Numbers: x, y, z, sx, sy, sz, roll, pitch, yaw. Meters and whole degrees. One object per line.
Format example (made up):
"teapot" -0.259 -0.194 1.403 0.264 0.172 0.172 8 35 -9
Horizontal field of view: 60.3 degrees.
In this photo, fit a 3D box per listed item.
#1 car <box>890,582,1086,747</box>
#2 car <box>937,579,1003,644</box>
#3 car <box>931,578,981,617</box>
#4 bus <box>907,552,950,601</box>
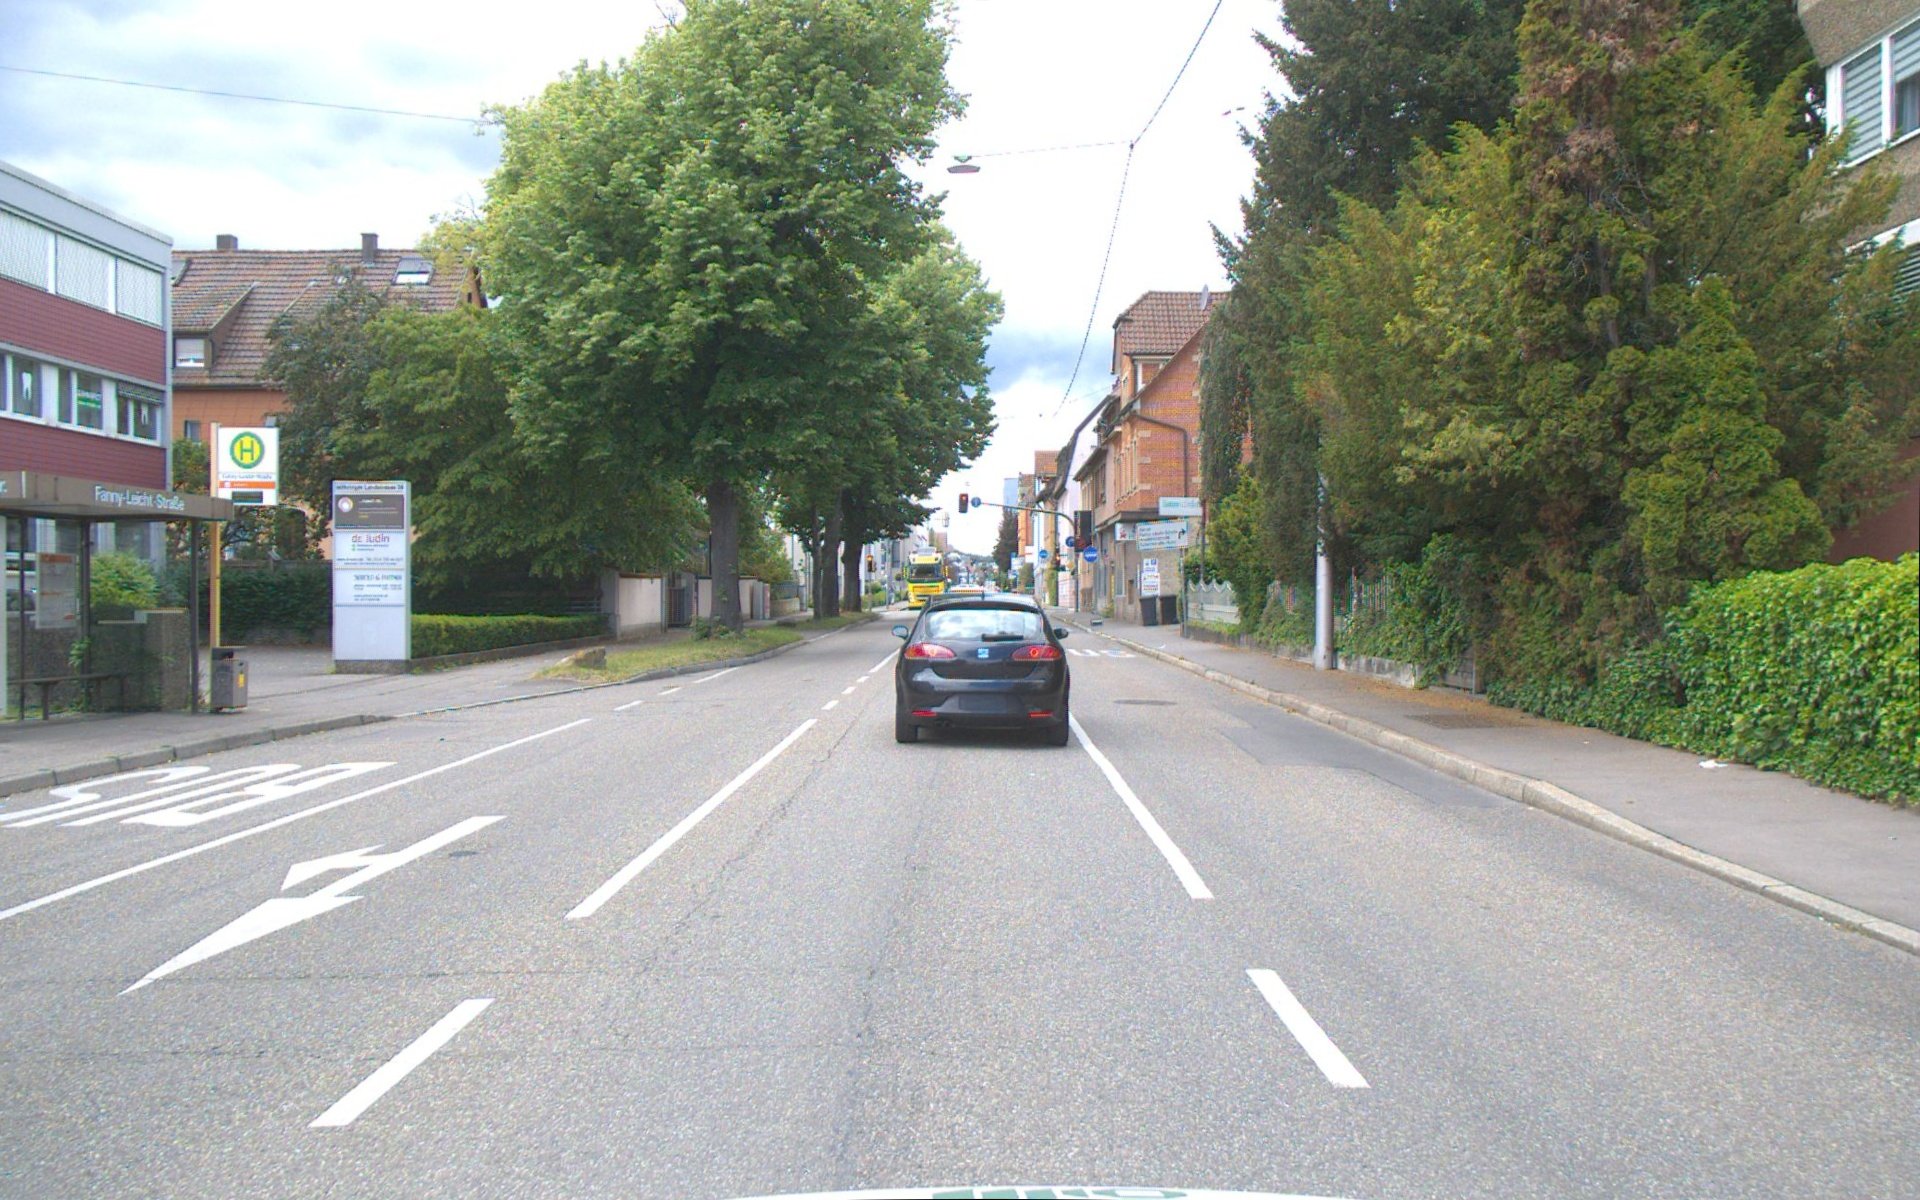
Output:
"car" 0.186 0.582 17.184 1.724 1.474 3.712 2 1 -4
"car" 0.321 0.291 47.747 1.781 1.729 4.254 -1 1 1
"car" -0.196 -0.128 68.591 1.902 1.507 4.251 -1 1 -2
"bus" -2.116 -1.611 112.168 2.810 3.191 6.396 -1 1 -1
